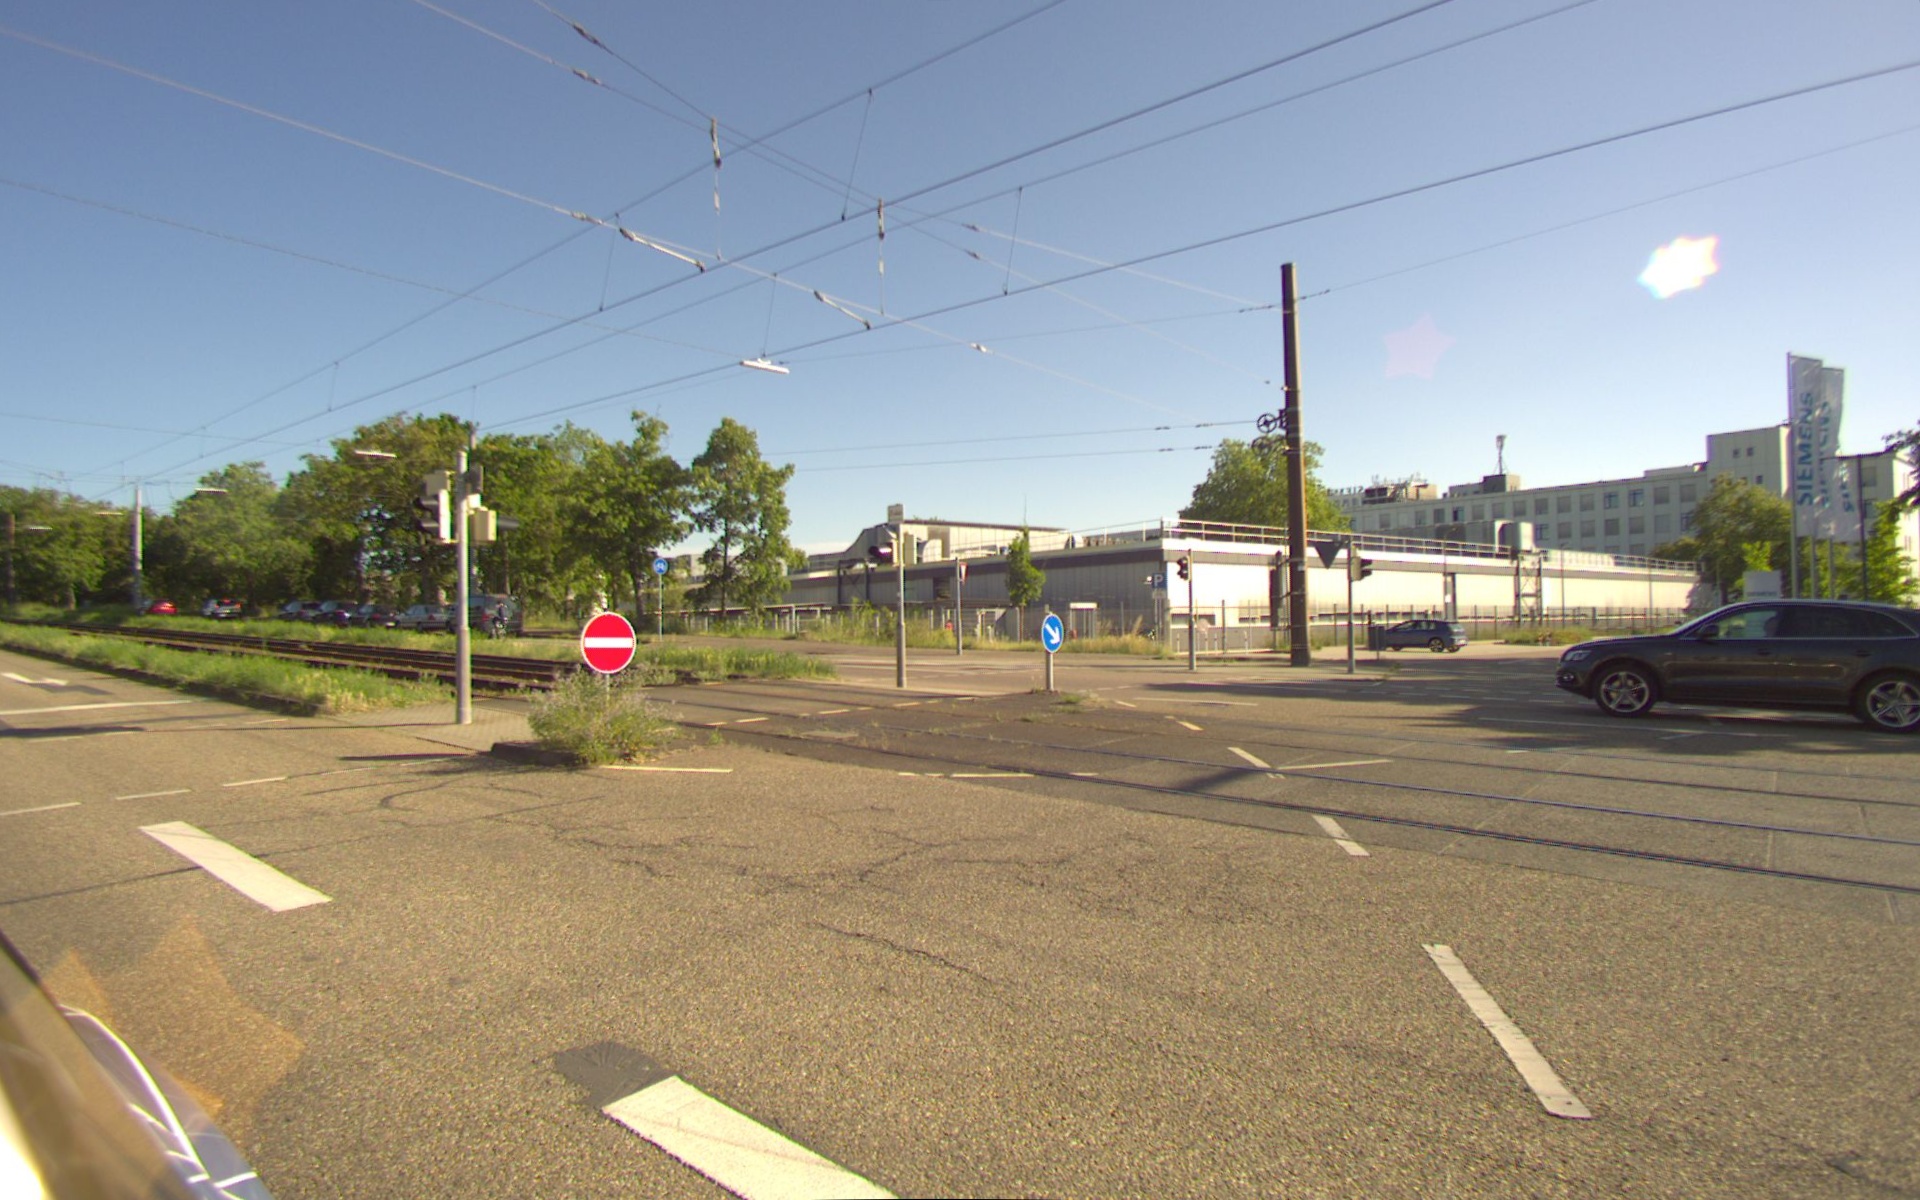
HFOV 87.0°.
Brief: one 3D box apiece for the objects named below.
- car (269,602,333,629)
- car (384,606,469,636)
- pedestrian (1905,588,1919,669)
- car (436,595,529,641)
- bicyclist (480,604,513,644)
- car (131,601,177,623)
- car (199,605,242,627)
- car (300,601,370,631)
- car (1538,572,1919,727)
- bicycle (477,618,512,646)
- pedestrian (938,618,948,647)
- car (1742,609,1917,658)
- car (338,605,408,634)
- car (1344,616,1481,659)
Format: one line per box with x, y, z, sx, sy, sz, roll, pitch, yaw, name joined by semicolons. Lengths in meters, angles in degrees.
-40.633;0.932;62.361;4.557;1.575;2.103;-1;0;40;car
-26.582;1.013;50.382;4.612;1.391;2.104;-1;0;39;car
21.882;0.624;22.672;0.938;1.801;0.823;0;-1;-35;pedestrian
-21.635;0.778;45.754;4.684;1.949;2.178;-1;0;42;car
-18.982;0.963;41.441;1.236;1.605;0.794;-1;0;42;bicyclist
-66.917;0.960;83.984;4.797;1.746;2.290;-1;0;43;car
-53.195;1.132;72.806;4.158;1.569;1.834;-1;0;44;car
-35.784;0.907;57.903;4.614;1.599;2.103;-1;0;41;car
10.734;0.638;13.721;4.787;1.824;2.073;-1;-3;39;car
-19.130;1.295;41.577;1.780;1.110;0.689;-1;0;42;bicycle
-0.771;1.476;46.289;0.435;1.310;0.441;-1;-1;-1;pedestrian
33.291;1.217;38.883;2.019;1.741;4.847;-1;0;-40;car
-31.576;1.027;54.370;4.486;1.437;1.935;-1;0;41;car
20.554;1.671;46.187;2.138;1.762;5.304;-1;0;-38;car
